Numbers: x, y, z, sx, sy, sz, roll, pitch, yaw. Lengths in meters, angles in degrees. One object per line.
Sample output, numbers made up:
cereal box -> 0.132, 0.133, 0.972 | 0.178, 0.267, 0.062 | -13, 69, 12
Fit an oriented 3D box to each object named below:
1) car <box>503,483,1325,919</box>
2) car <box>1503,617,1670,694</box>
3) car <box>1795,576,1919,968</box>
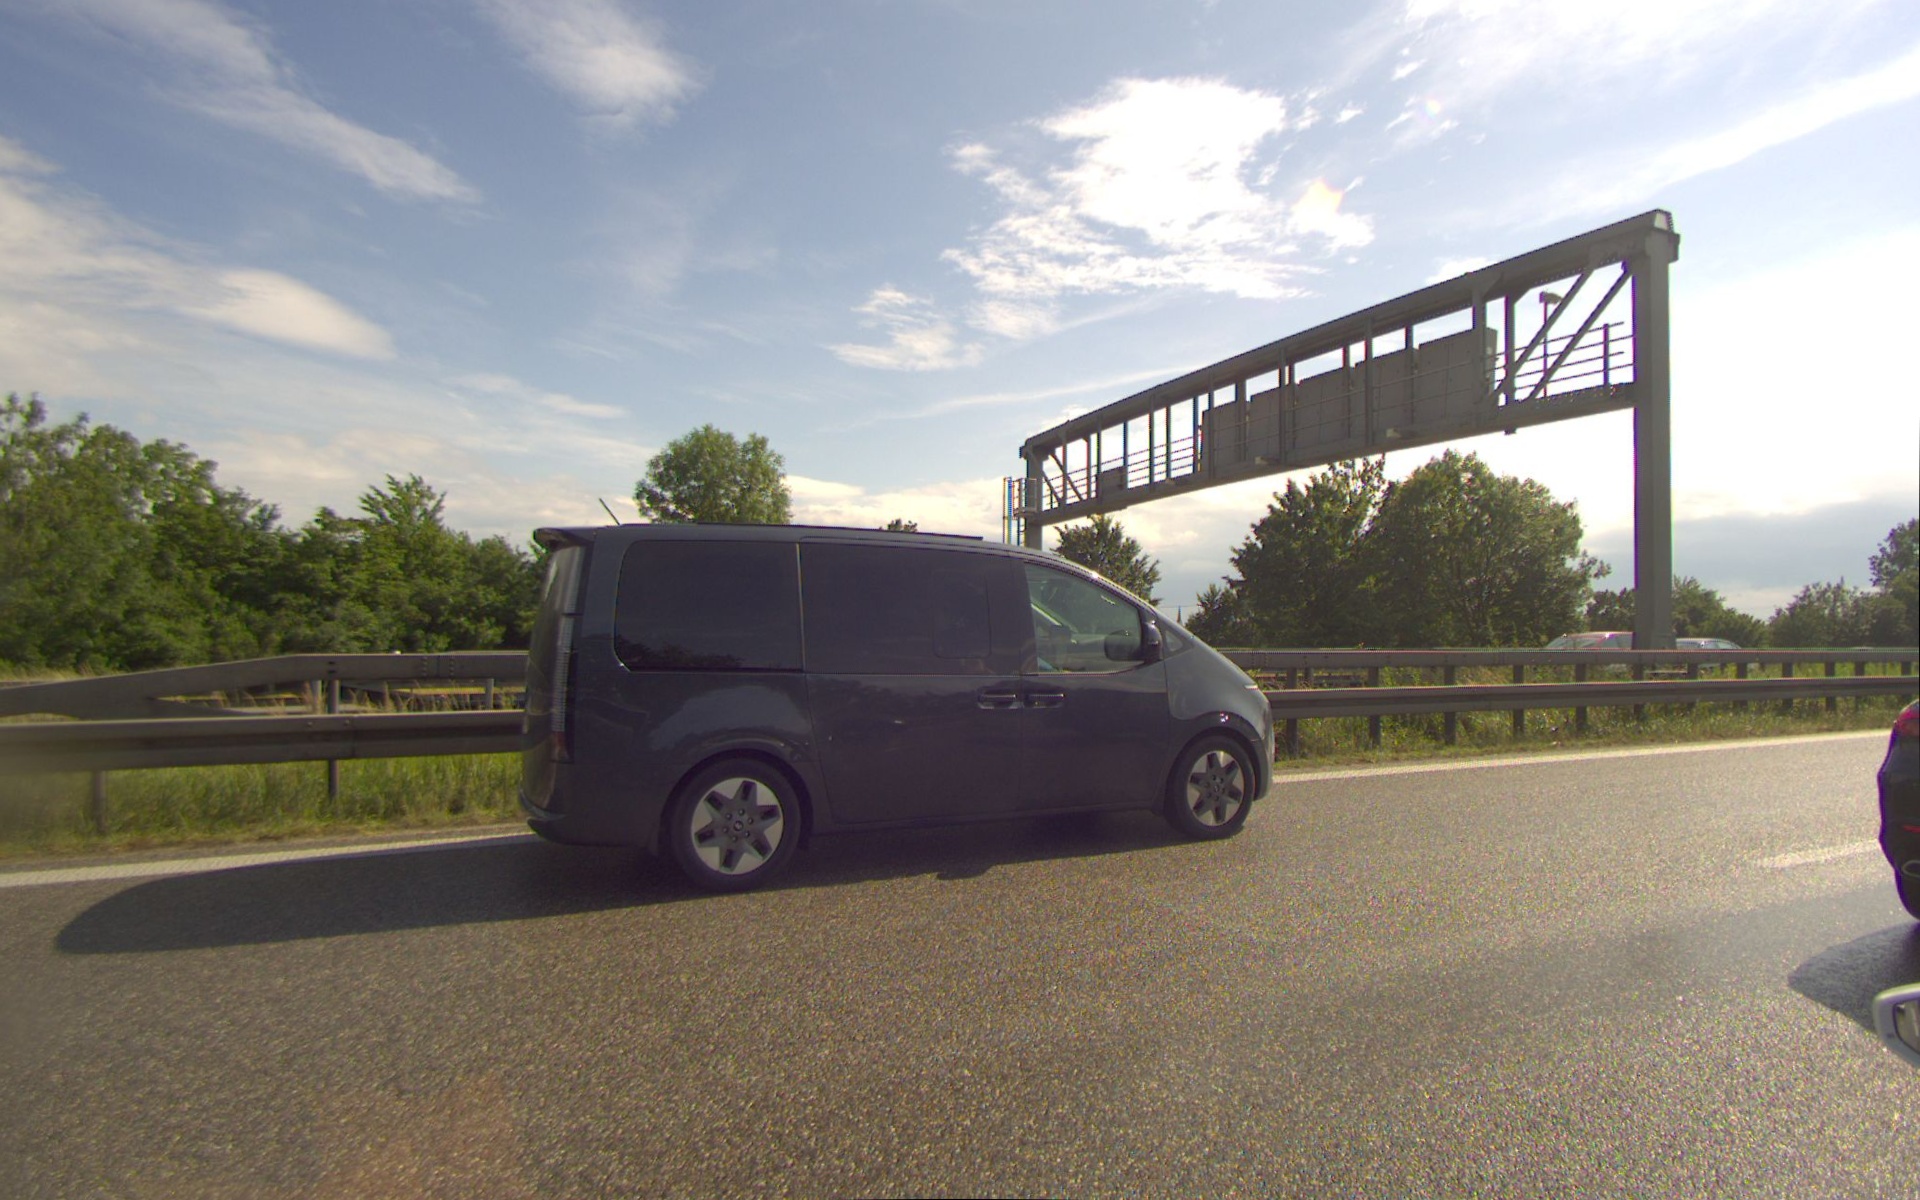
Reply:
car -> -0.188, 0.534, 6.778 | 5.201, 2.040, 1.987 | 1, -1, -27
car -> 17.829, 1.525, 28.551 | 4.593, 2.040, 1.986 | 1, -1, -27
car -> 6.311, 0.785, 4.783 | 4.347, 1.683, 1.987 | 2, -1, -26
